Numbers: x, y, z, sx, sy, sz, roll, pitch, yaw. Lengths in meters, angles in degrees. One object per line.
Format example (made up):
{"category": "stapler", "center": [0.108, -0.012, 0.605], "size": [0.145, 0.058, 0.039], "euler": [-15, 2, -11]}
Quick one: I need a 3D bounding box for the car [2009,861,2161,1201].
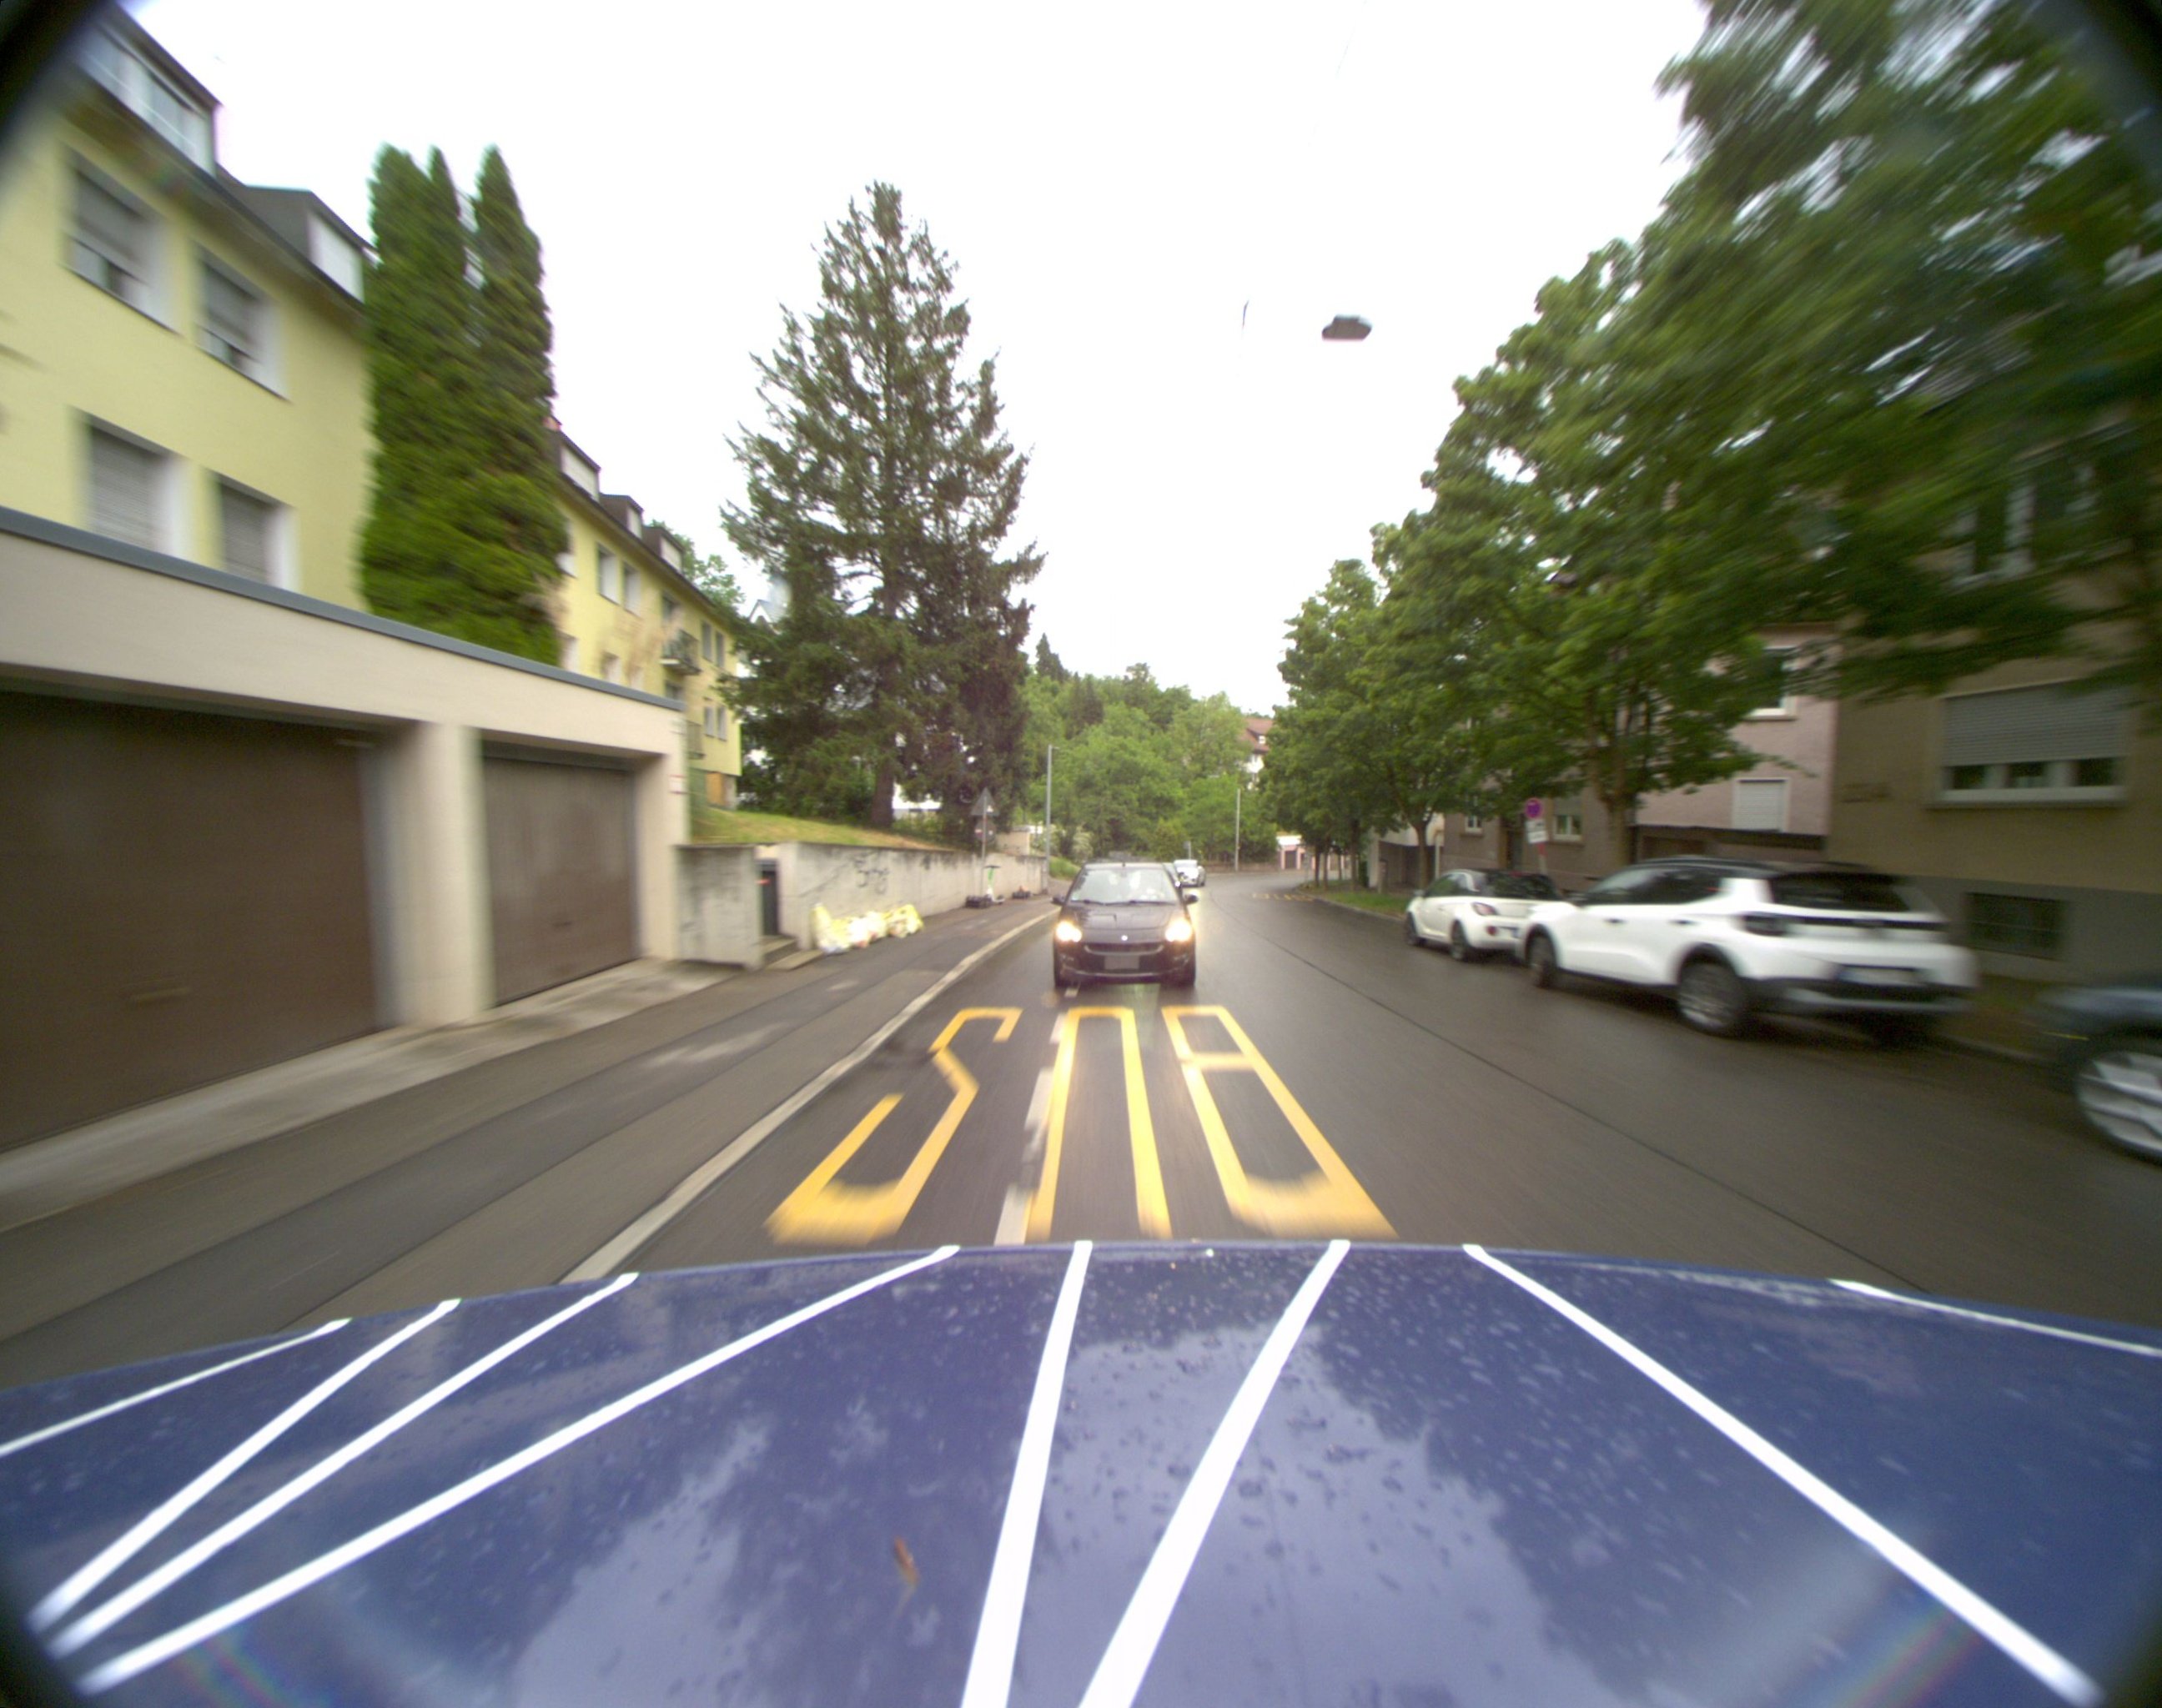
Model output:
{"category": "car", "center": [6.116, 0.931, 2.330], "size": [1.622, 1.649, 3.923], "euler": [4, 1, 0]}

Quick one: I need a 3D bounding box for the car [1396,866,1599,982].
{"category": "car", "center": [6.690, 1.023, 12.669], "size": [1.621, 1.463, 3.670], "euler": [5, 1, 7]}

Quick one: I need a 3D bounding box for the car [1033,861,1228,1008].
{"category": "car", "center": [0.817, 0.843, 9.716], "size": [1.575, 1.444, 3.592], "euler": [2, 0, 19]}

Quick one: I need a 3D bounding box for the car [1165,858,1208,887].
{"category": "car", "center": [6.464, 1.057, 46.199], "size": [2.010, 1.652, 4.451], "euler": [1, 0, 15]}

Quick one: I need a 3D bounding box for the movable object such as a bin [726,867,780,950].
{"category": "movable object such as a bin", "center": [-4.456, 0.726, 10.339], "size": [0.482, 1.085, 0.493], "euler": [1, 0, 2]}

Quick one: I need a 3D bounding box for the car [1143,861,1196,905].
{"category": "car", "center": [3.246, 1.022, 28.344], "size": [1.806, 1.480, 4.019], "euler": [1, 0, 5]}

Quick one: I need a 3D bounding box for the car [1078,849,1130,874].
{"category": "car", "center": [1.668, 0.513, 54.715], "size": [3.463, 1.623, 1.581], "euler": [3, 2, 13]}

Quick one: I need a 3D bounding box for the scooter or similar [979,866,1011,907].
{"category": "scooter or similar", "center": [-2.504, 0.937, 22.250], "size": [0.599, 1.126, 1.371], "euler": [1, 0, 7]}

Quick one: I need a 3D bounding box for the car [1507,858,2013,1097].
{"category": "car", "center": [6.291, 0.962, 7.786], "size": [1.596, 1.649, 3.923], "euler": [5, 1, 1]}
